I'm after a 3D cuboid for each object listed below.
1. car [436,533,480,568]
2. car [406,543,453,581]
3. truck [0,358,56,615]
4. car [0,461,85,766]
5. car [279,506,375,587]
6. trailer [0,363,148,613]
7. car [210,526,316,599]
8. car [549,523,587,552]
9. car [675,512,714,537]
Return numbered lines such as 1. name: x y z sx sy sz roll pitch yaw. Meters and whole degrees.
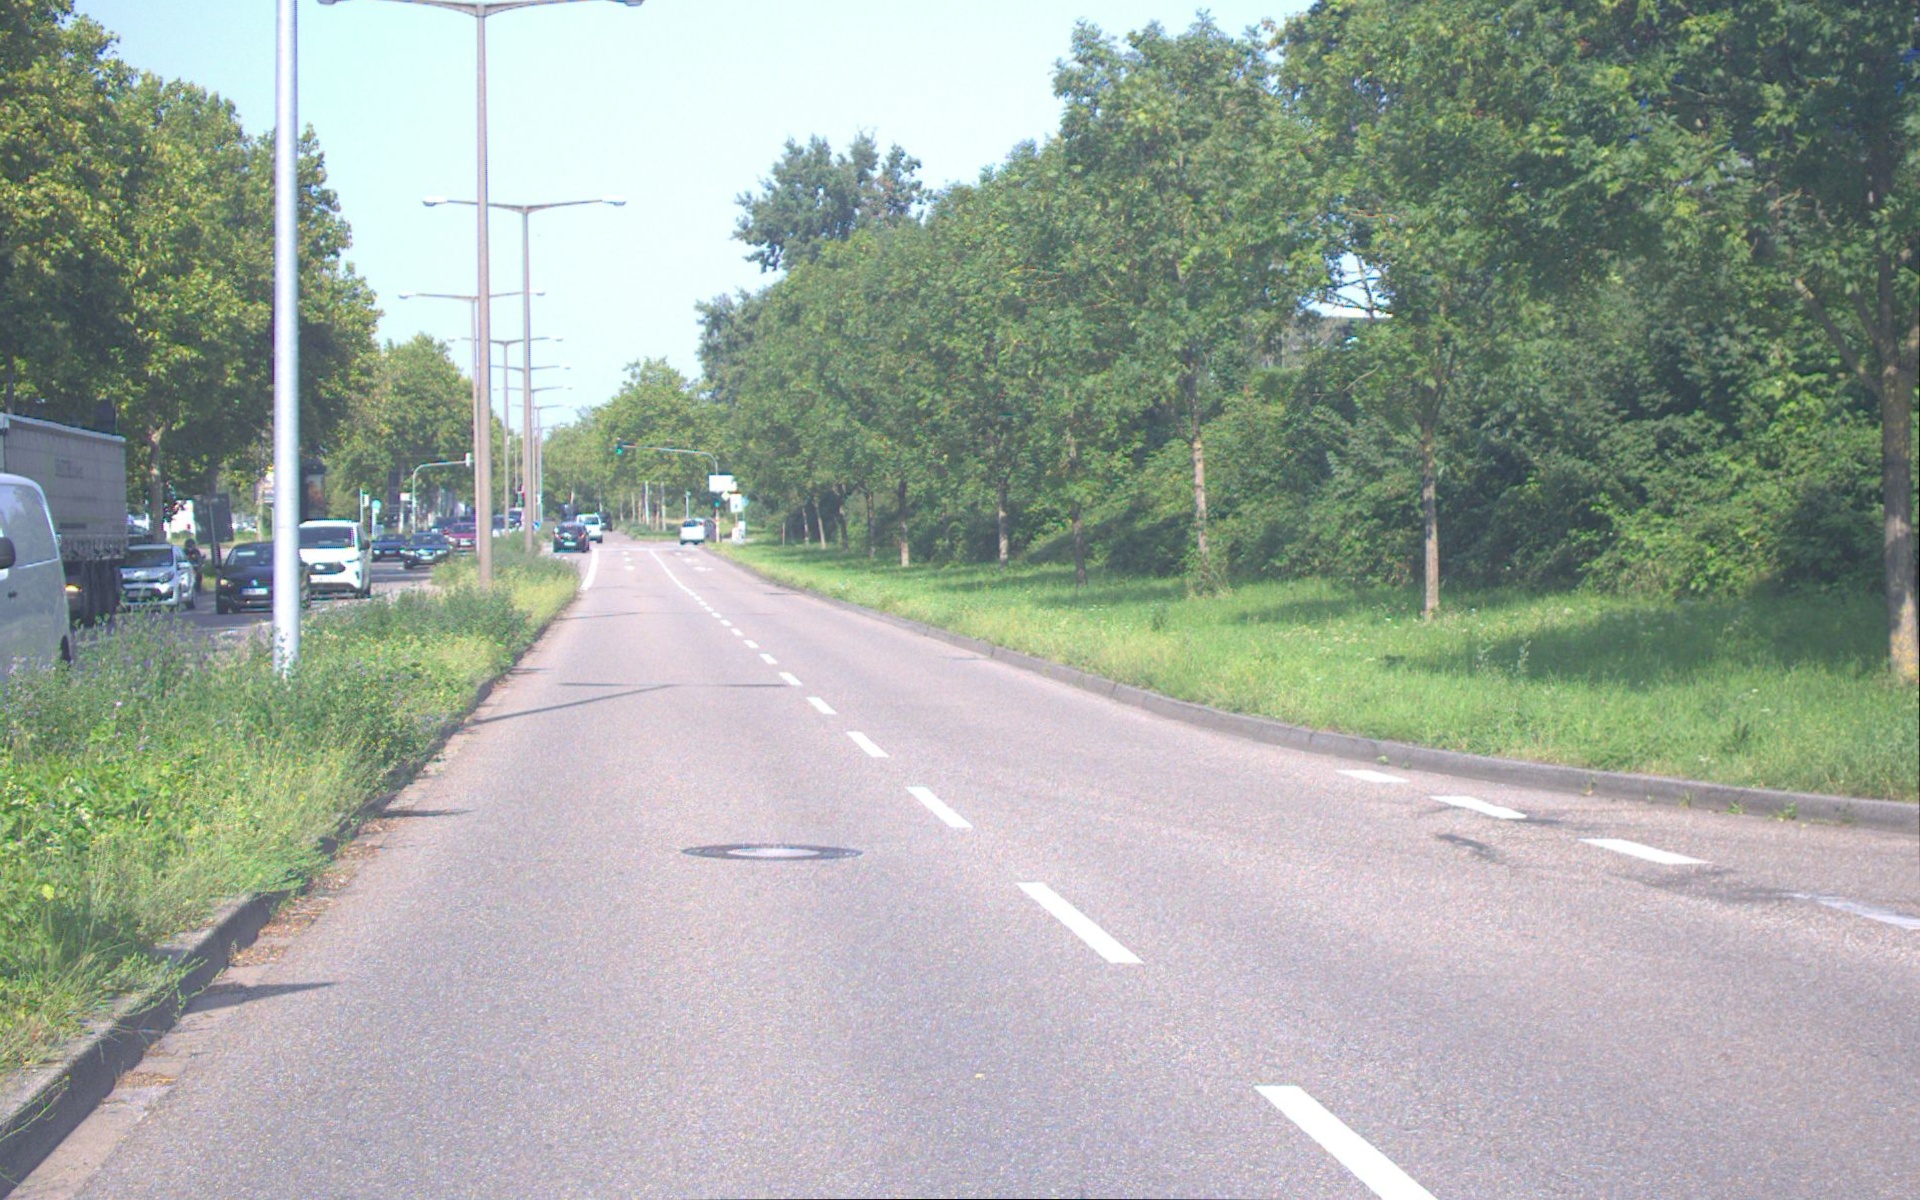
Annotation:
1. car: -24.784 -2.451 169.800 1.953 1.718 4.588 -1 1 -6
2. car: -21.658 -1.547 140.394 1.746 1.474 4.588 -2 1 -7
3. truck: -15.634 -1.666 52.294 2.607 3.806 5.892 -2 1 -6
4. car: -6.917 0.093 21.812 1.911 1.857 4.891 -2 1 -6
5. car: -15.880 -1.365 86.444 1.993 1.947 5.037 0 1 -6
6. trailer: -16.375 -1.767 59.431 2.633 3.808 13.815 -2 1 -6
7. car: -14.249 -0.771 70.442 1.614 1.394 3.858 -2 1 -5
8. car: -20.433 -3.277 179.246 1.692 1.480 4.001 0 1 -3
9. car: -16.066 -4.573 208.150 1.794 1.505 4.000 0 1 3
